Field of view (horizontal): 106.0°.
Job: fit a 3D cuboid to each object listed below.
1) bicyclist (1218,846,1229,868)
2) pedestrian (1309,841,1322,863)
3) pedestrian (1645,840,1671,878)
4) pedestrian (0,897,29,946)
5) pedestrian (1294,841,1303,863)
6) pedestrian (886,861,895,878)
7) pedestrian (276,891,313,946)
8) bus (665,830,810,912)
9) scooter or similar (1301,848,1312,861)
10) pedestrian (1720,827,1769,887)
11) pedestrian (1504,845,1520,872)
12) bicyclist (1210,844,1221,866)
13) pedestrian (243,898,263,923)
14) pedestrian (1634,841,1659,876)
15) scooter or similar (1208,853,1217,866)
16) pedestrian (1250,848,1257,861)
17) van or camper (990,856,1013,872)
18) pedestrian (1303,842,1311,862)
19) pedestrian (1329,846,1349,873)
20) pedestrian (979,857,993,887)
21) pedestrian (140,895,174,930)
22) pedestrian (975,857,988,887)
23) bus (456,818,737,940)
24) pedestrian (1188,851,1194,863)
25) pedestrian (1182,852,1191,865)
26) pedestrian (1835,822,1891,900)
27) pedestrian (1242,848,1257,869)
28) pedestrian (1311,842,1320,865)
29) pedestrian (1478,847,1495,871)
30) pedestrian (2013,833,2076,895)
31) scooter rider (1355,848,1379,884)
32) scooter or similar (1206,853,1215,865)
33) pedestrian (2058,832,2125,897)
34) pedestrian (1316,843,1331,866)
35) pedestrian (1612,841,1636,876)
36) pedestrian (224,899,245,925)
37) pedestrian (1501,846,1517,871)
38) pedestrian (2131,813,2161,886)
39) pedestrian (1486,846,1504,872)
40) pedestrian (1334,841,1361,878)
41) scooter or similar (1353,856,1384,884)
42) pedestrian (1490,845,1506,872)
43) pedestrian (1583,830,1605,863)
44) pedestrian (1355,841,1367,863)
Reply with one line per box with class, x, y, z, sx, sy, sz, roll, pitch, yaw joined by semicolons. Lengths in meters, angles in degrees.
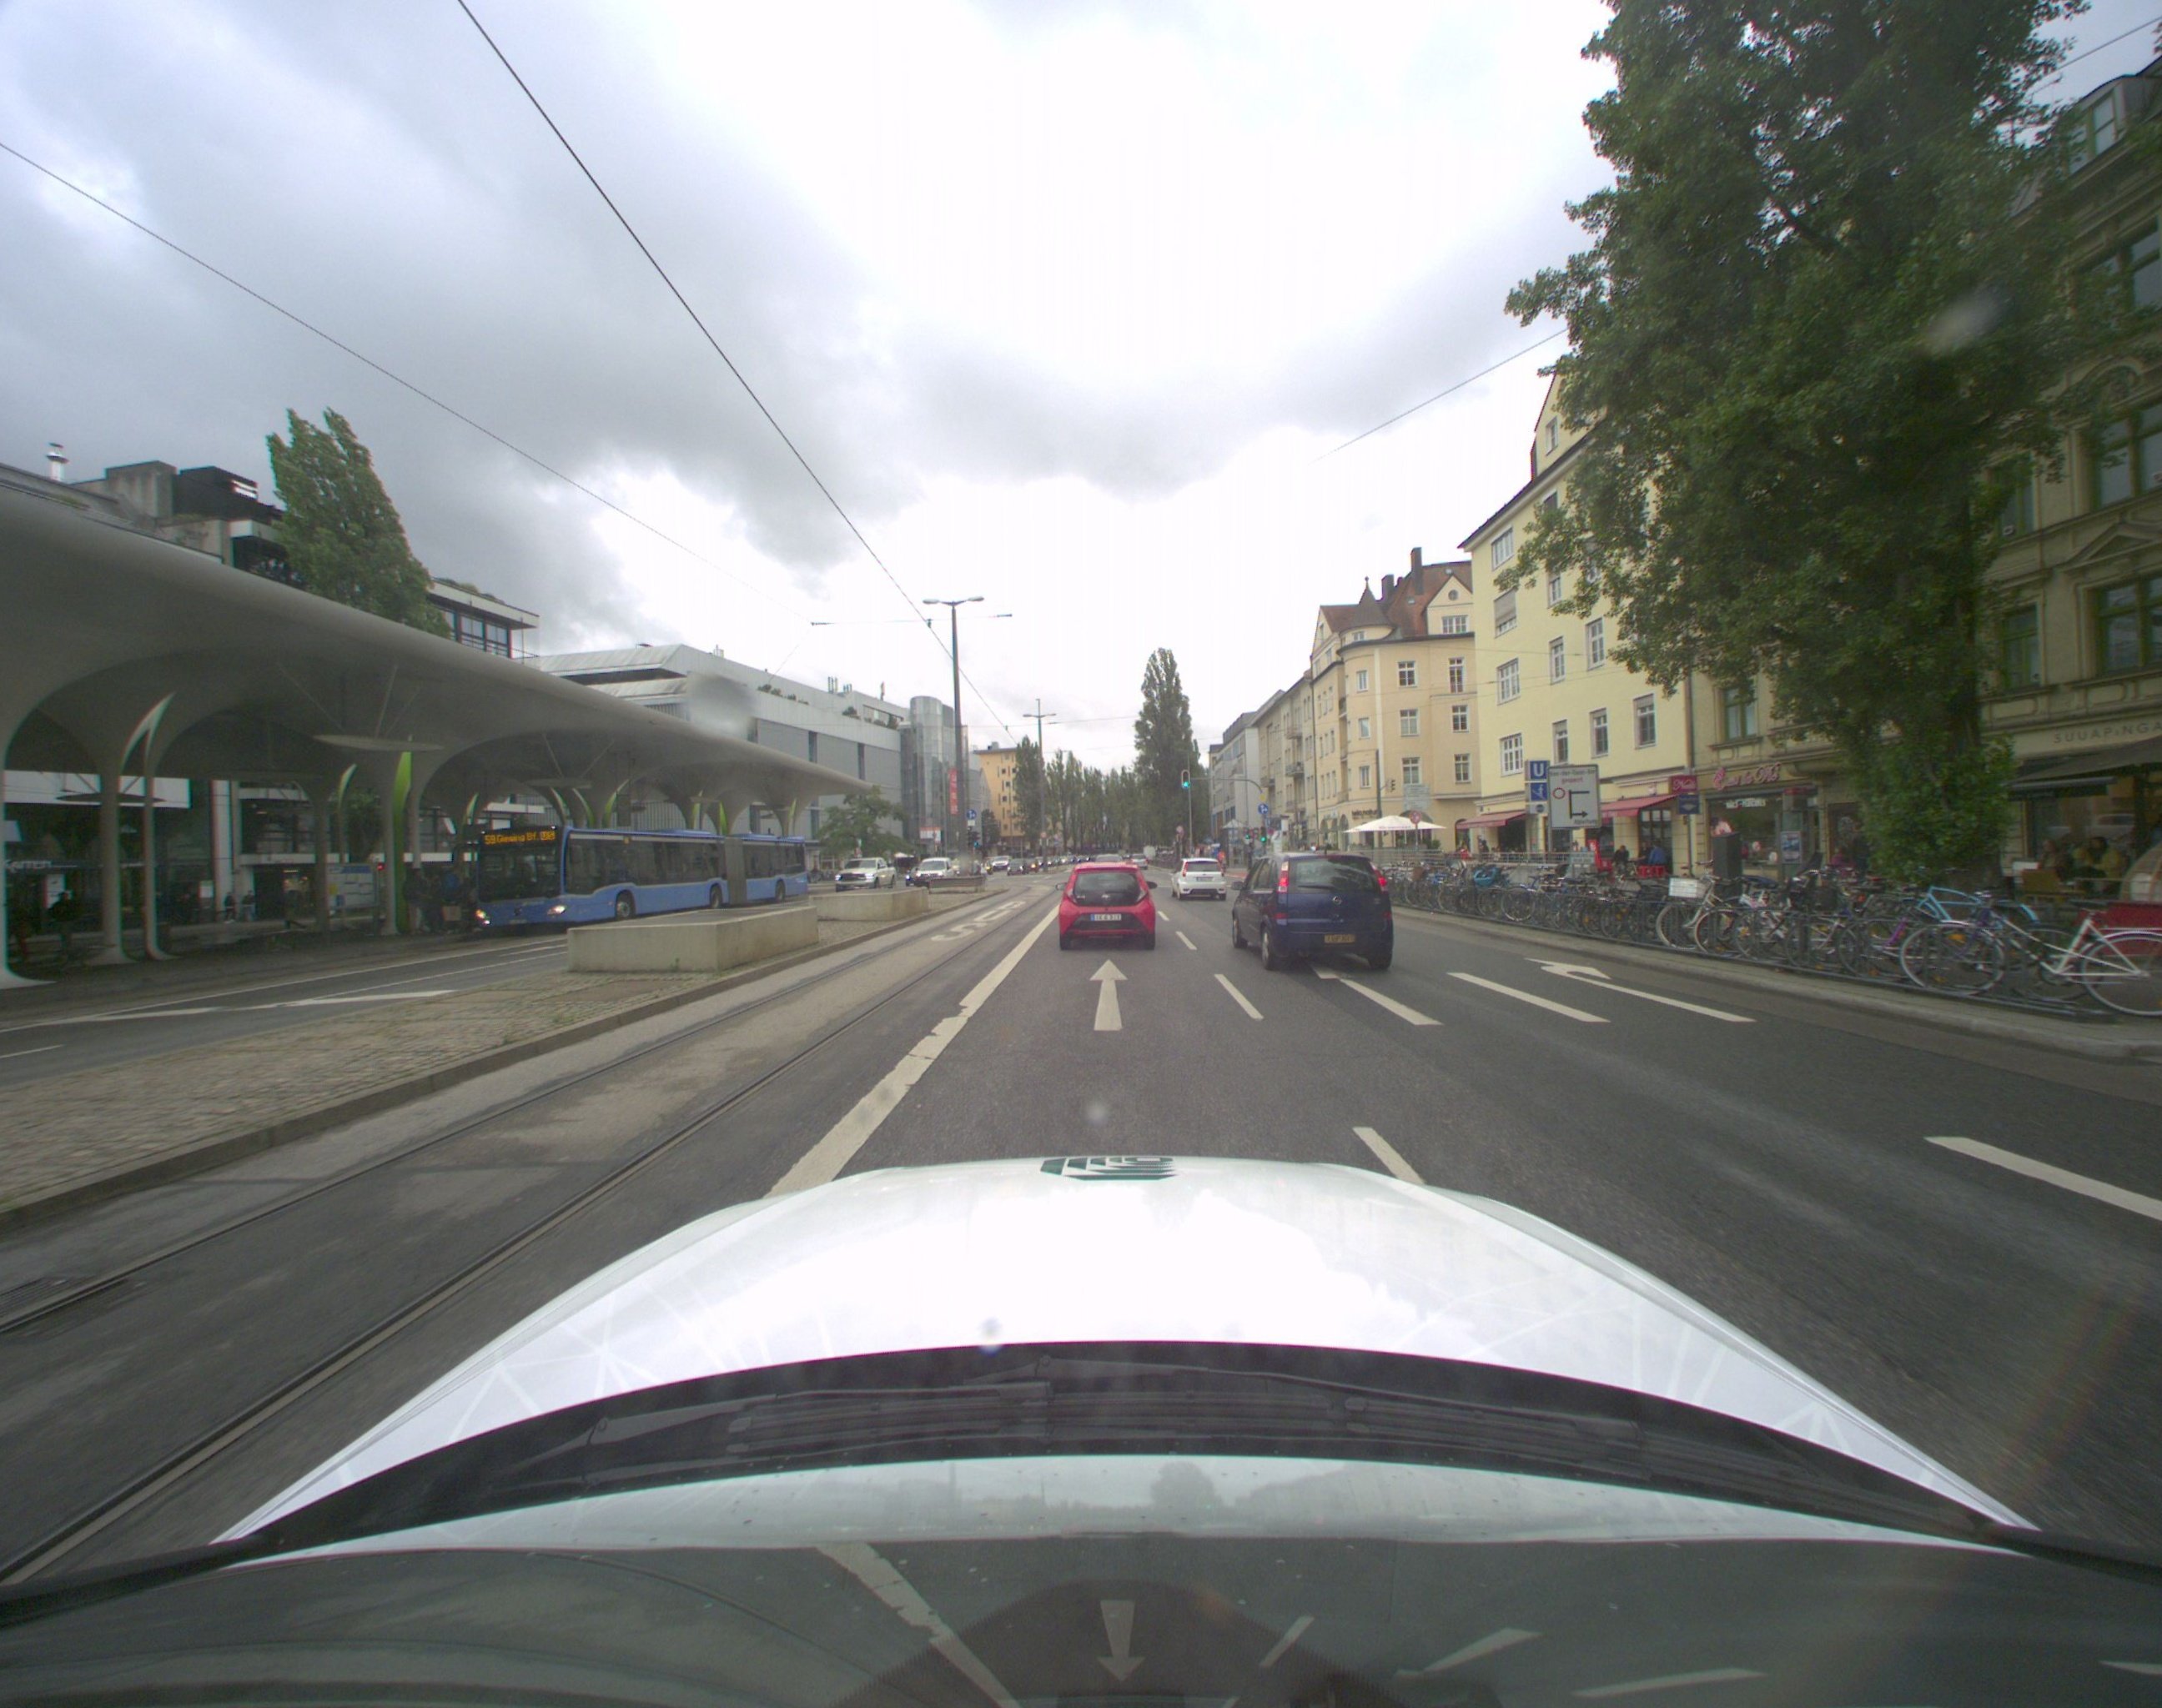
bicyclist;11.089;0.230;63.353;0.611;1.657;1.252;-2;0;3
pedestrian;18.912;-0.173;65.775;0.648;1.705;0.727;-4;3;-27
pedestrian;20.796;0.168;29.340;0.493;1.332;0.552;-2;0;2
pedestrian;-40.586;2.538;30.625;0.921;1.773;1.004;-2;0;21
pedestrian;17.643;-0.172;65.951;0.560;1.670;0.565;-2;3;24
pedestrian;-19.916;1.609;84.982;0.752;1.773;0.767;-2;0;-21
pedestrian;-30.386;2.468;31.478;0.664;2.013;0.913;-2;-1;39
bus;-14.671;0.660;35.612;2.649;3.007;7.518;-4;0;3
scooter or similar;17.976;0.057;65.032;0.814;0.994;0.596;-2;3;14
pedestrian;18.840;0.081;23.147;0.707;1.632;0.787;-2;0;2
pedestrian;21.280;0.218;40.198;0.476;1.299;0.527;-2;0;0
bicyclist;11.436;0.089;69.246;0.759;1.870;1.133;-2;0;3
pedestrian;-45.183;3.095;44.460;0.507;1.333;0.580;-2;0;20
pedestrian;21.053;0.168;30.322;0.493;1.289;0.552;-2;0;2
scooter or similar;13.252;0.544;81.983;0.297;1.176;1.285;-3;0;32
pedestrian;22.113;0.066;104.246;0.730;1.602;0.742;-2;0;2
van or camper;-9.713;1.206;100.035;1.920;1.826;5.446;-2;0;4
pedestrian;18.325;-0.173;66.029;0.556;1.609;0.570;-2;3;15
pedestrian;15.530;0.335;49.037;0.730;1.540;0.887;-2;0;-13
pedestrian;-5.185;0.970;44.360;0.466;1.618;0.515;-2;-1;-45
pedestrian;-45.773;2.896;40.357;0.775;1.661;0.776;-2;0;11
pedestrian;-5.448;0.971;44.663;0.489;1.618;0.552;-2;-1;-33
bus;-14.906;0.656;26.574;2.652;3.007;10.514;-4;0;0
pedestrian;15.818;0.426;117.096;0.787;1.727;0.764;-2;0;2
pedestrian;12.783;0.564;98.614;0.791;1.522;0.815;-2;0;20
pedestrian;17.904;0.153;18.659;0.598;1.739;0.666;-2;0;2
pedestrian;13.420;0.364;64.842;0.826;1.691;0.825;-3;0;39
pedestrian;18.681;-0.064;64.852;0.644;1.751;0.639;-2;3;14
pedestrian;21.030;0.262;42.209;0.512;1.182;0.703;-2;0;0
pedestrian;20.345;0.209;17.206;0.581;1.280;0.583;-2;0;1
scooter rider;11.484;0.488;32.741;0.698;1.389;0.643;-2;0;0
scooter or similar;13.081;0.545;82.347;0.360;1.176;1.356;-3;0;32
pedestrian;20.298;0.208;16.368;0.581;1.280;0.583;-2;0;1
pedestrian;18.853;0.047;63.281;0.928;1.755;1.068;-2;0;11
pedestrian;20.205;0.169;30.299;0.493;1.289;0.552;-2;0;2
pedestrian;-45.053;3.091;43.338;0.507;1.333;0.580;-2;0;20
pedestrian;20.576;0.218;39.143;0.476;1.166;0.527;-2;0;0
pedestrian;22.165;-0.100;16.636;0.622;1.475;0.584;-2;0;4
pedestrian;21.042;0.266;41.352;0.512;1.292;0.703;-2;0;0
pedestrian;13.097;0.271;39.974;0.882;1.743;0.854;-2;0;-15
scooter or similar;11.531;0.634;32.662;0.773;1.075;1.256;-2;0;0
pedestrian;20.571;0.218;40.149;0.476;1.299;0.527;-2;0;0
pedestrian;22.058;-0.315;34.994;0.543;1.397;0.548;-2;-1;-25
pedestrian;21.688;-0.143;63.041;0.674;1.684;0.752;-1;4;38
